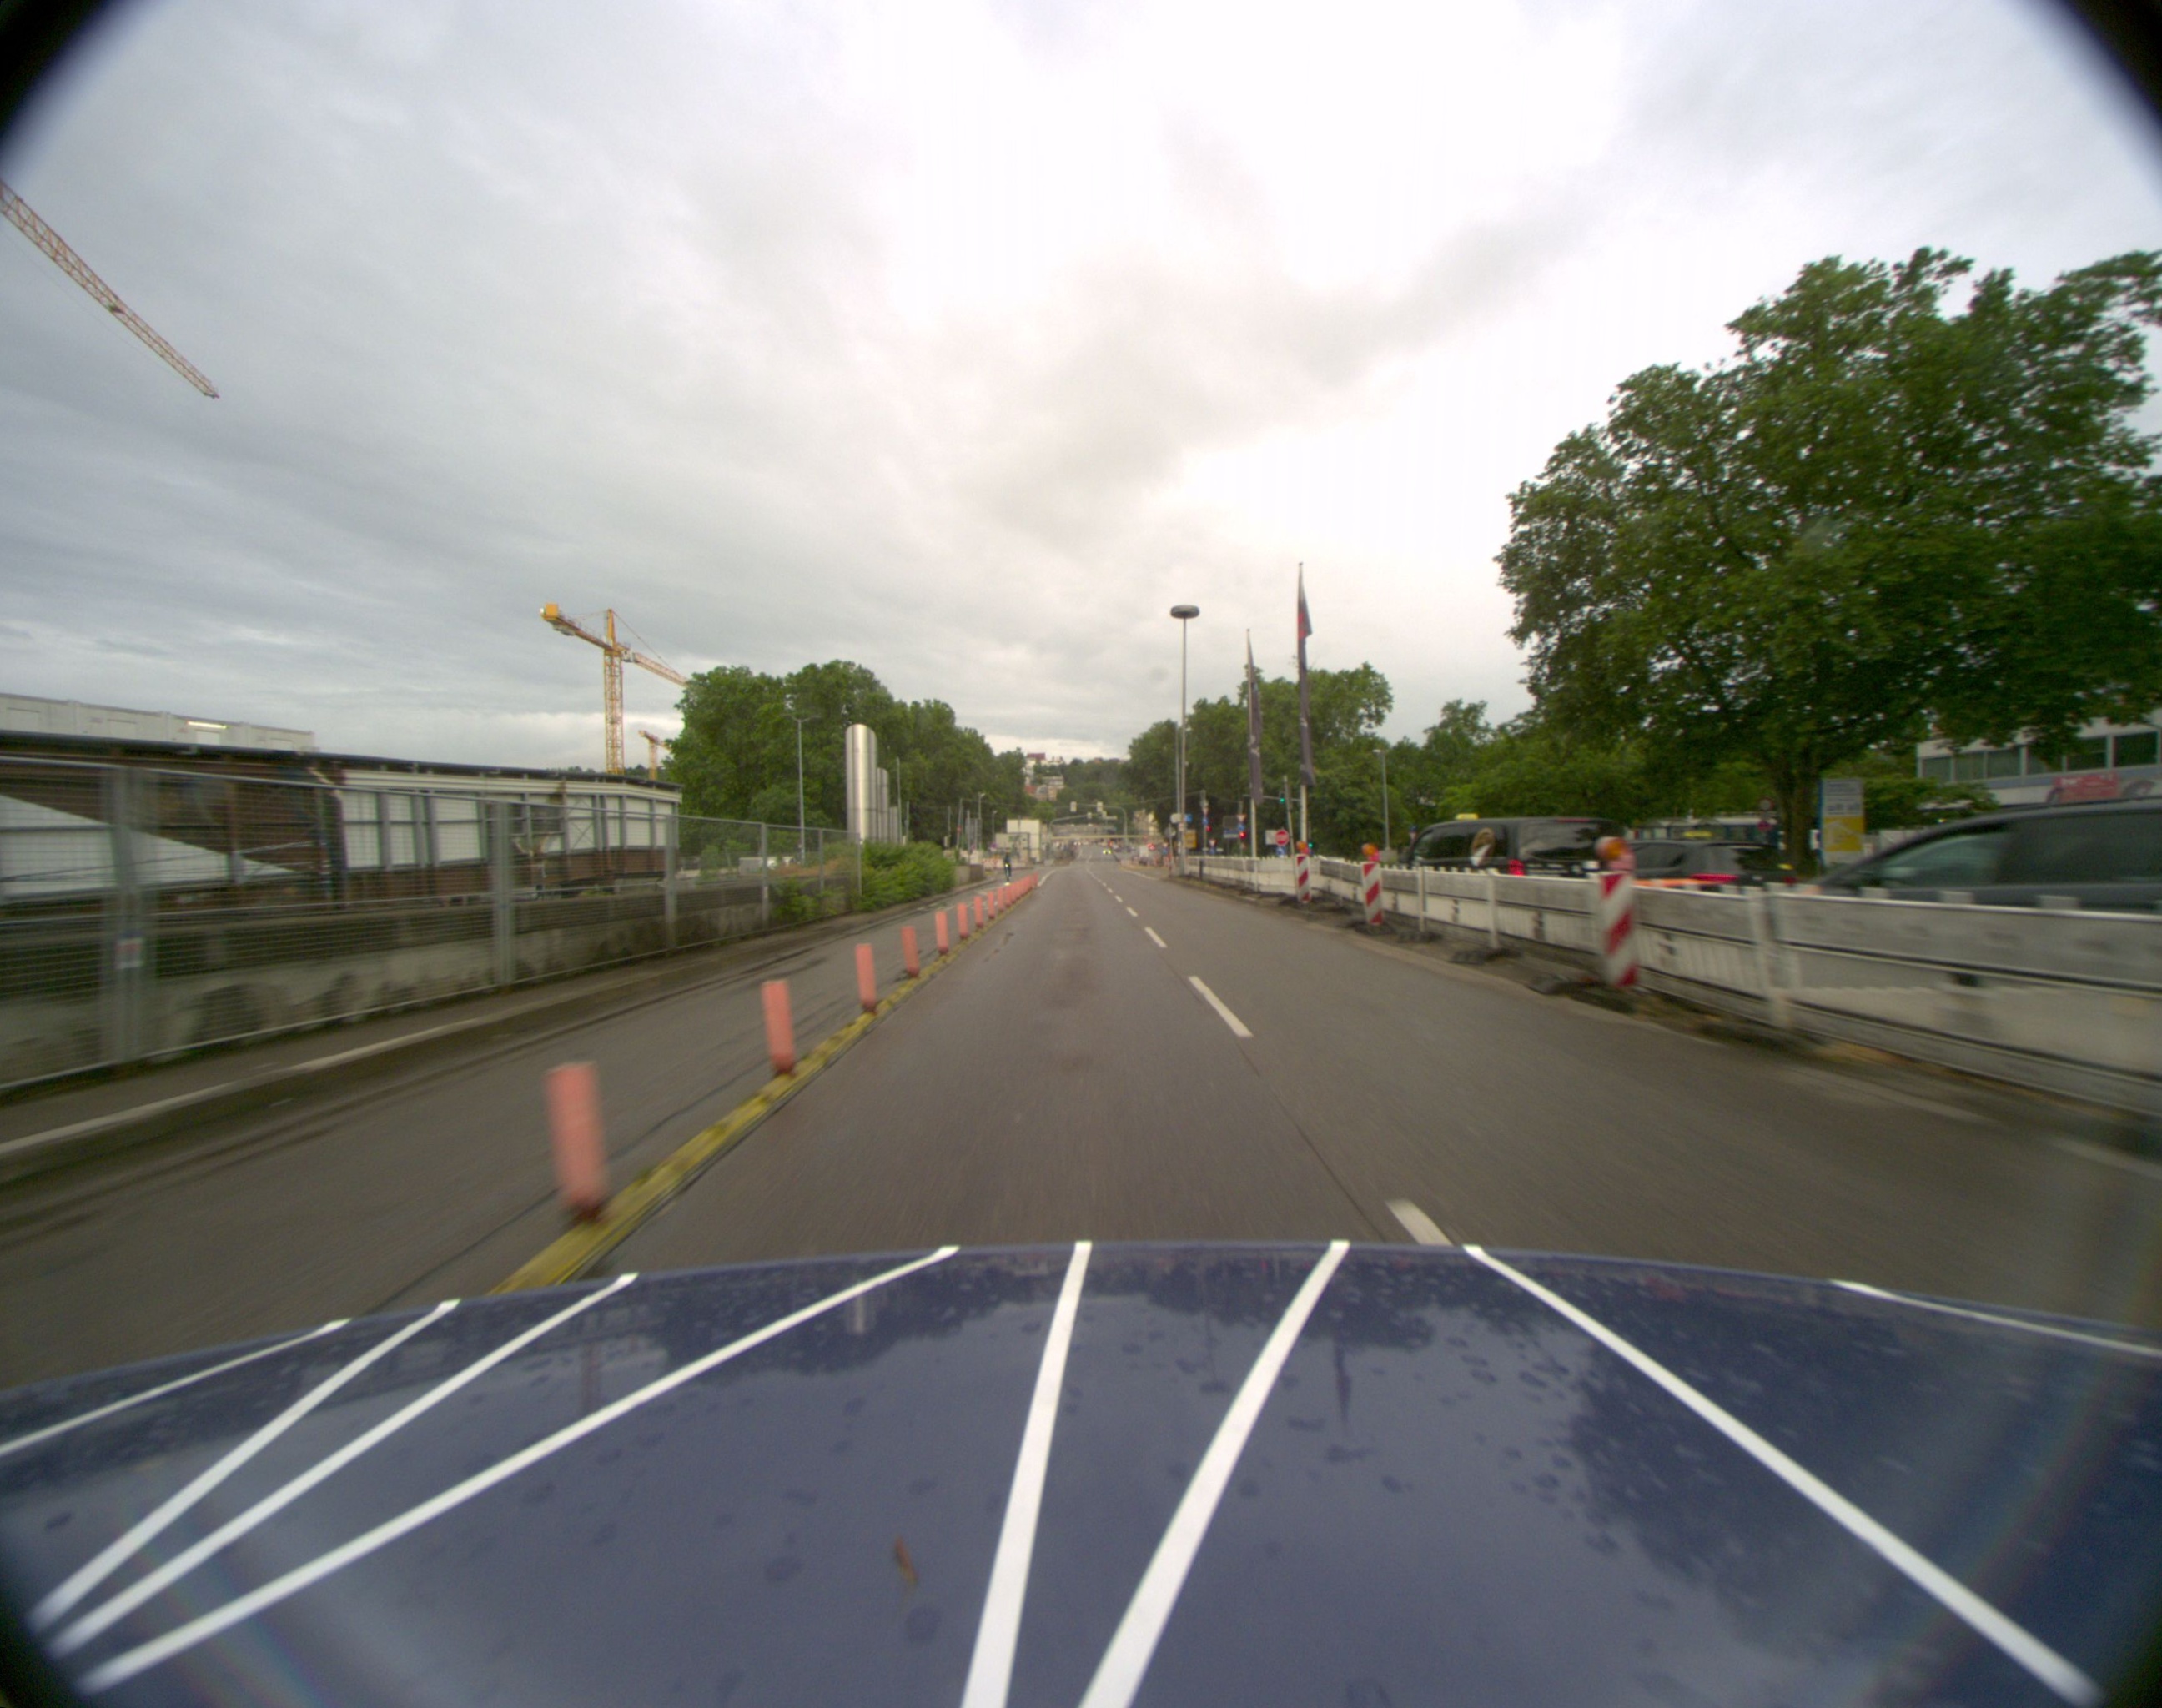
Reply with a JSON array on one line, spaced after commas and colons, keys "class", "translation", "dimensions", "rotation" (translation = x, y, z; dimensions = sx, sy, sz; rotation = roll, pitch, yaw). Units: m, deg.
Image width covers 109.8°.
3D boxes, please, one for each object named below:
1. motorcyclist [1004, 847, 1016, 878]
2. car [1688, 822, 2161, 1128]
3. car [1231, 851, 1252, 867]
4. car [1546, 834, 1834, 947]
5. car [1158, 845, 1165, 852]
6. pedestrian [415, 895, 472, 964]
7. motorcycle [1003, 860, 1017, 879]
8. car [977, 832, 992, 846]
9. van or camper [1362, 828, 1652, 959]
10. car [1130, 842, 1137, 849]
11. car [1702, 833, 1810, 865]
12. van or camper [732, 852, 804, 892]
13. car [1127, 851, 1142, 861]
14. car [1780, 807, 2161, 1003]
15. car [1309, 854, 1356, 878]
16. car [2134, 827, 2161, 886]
[{"class": "motorcyclist", "translation": [-4.631, 0.583, 49.896], "dimensions": [0.726, 2.024, 0.587], "rotation": [0, -1, -1]}, {"class": "car", "translation": [7.290, 0.714, 5.592], "dimensions": [1.998, 1.760, 4.812], "rotation": [0, -1, 3]}, {"class": "car", "translation": [16.118, 0.546, 76.354], "dimensions": [1.681, 1.533, 3.176], "rotation": [0, -1, 6]}, {"class": "car", "translation": [10.531, 0.586, 13.669], "dimensions": [1.894, 1.692, 4.303], "rotation": [-1, -1, 3]}, {"class": "car", "translation": [27.414, -1.851, 259.622], "dimensions": [1.998, 2.001, 4.001], "rotation": [-2, -1, 1]}, {"class": "pedestrian", "translation": [-17.879, 2.091, 21.334], "dimensions": [0.673, 1.821, 1.015], "rotation": [-1, 1, -1]}, {"class": "motorcycle", "translation": [-4.624, 1.000, 49.791], "dimensions": [0.730, 1.221, 2.161], "rotation": [0, -1, -1]}, {"class": "car", "translation": [-15.236, -2.290, 120.278], "dimensions": [1.999, 2.054, 4.190], "rotation": [0, -1, -3]}, {"class": "van or camper", "translation": [7.012, 0.574, 13.420], "dimensions": [1.950, 1.809, 5.391], "rotation": [2, 0, -1]}, {"class": "car", "translation": [16.913, -2.847, 245.828], "dimensions": [1.998, 2.001, 4.001], "rotation": [-2, -2, 1]}, {"class": "car", "translation": [44.048, -0.292, 49.699], "dimensions": [2.039, 2.002, 4.823], "rotation": [-1, 0, -31]}, {"class": "van or camper", "translation": [-19.819, 1.131, 47.949], "dimensions": [2.391, 2.387, 6.047], "rotation": [1, -2, -41]}, {"class": "car", "translation": [9.523, 0.341, 135.734], "dimensions": [1.664, 1.533, 4.156], "rotation": [-1, -2, -10]}, {"class": "car", "translation": [10.319, 0.431, 8.007], "dimensions": [1.895, 1.692, 4.423], "rotation": [-2, -1, 2]}, {"class": "car", "translation": [17.900, 0.848, 54.366], "dimensions": [1.998, 1.622, 4.820], "rotation": [-2, -1, 3]}, {"class": "car", "translation": [30.722, -0.017, 19.660], "dimensions": [3.734, 1.534, 1.856], "rotation": [-3, 0, 43]}]
